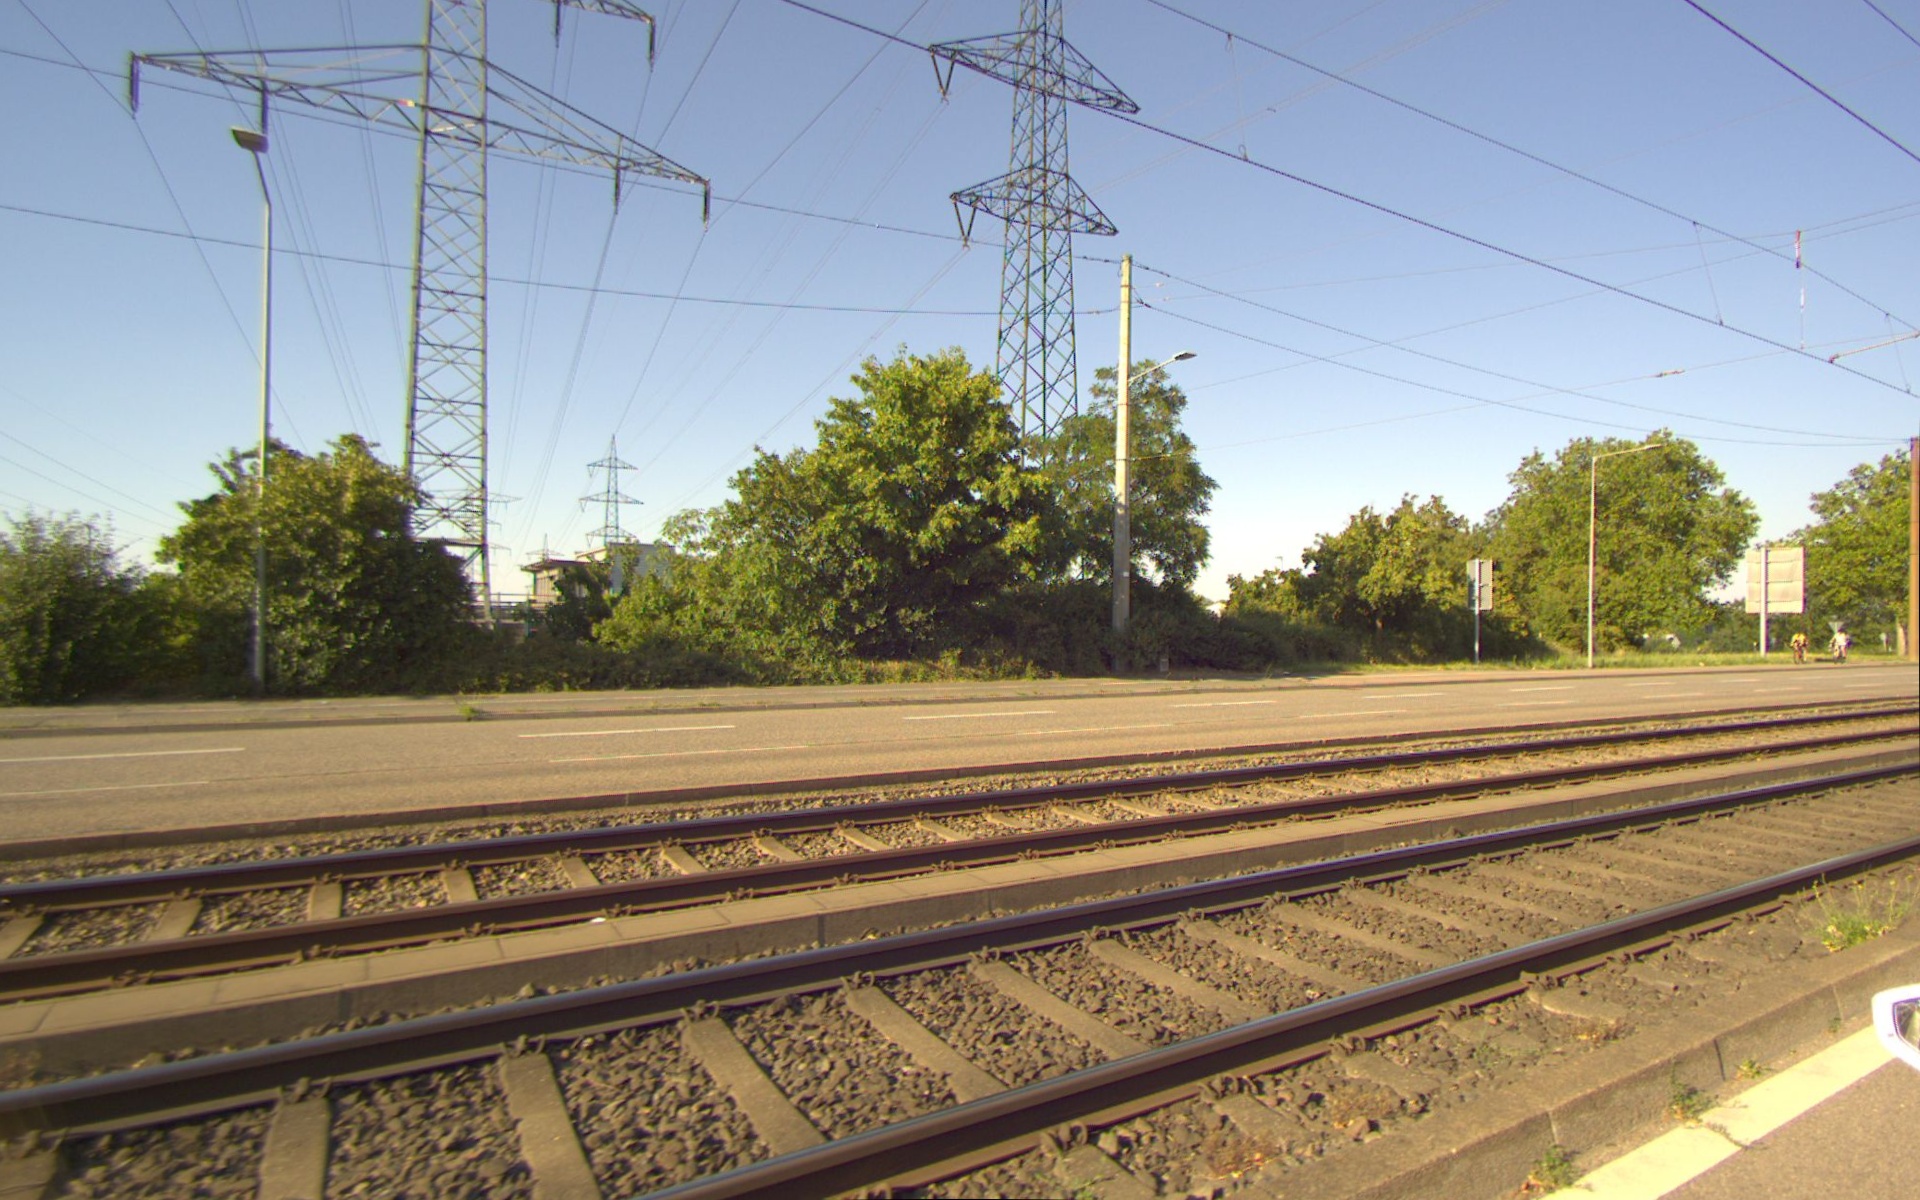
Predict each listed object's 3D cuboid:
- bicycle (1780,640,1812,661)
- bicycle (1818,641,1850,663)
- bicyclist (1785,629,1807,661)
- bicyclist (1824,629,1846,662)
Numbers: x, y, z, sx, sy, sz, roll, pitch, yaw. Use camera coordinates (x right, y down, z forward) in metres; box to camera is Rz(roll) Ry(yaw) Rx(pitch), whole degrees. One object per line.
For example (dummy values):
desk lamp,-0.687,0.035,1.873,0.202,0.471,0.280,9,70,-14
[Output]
bicycle,41.641,2.523,50.048,2.162,1.035,0.587,2,-1,-32
bicycle,43.852,2.610,50.395,2.162,1.035,0.587,2,-1,-32
bicyclist,41.647,2.230,50.049,0.896,1.548,0.587,2,-1,-32
bicyclist,43.930,2.298,50.438,0.956,1.632,0.587,2,-1,-32
